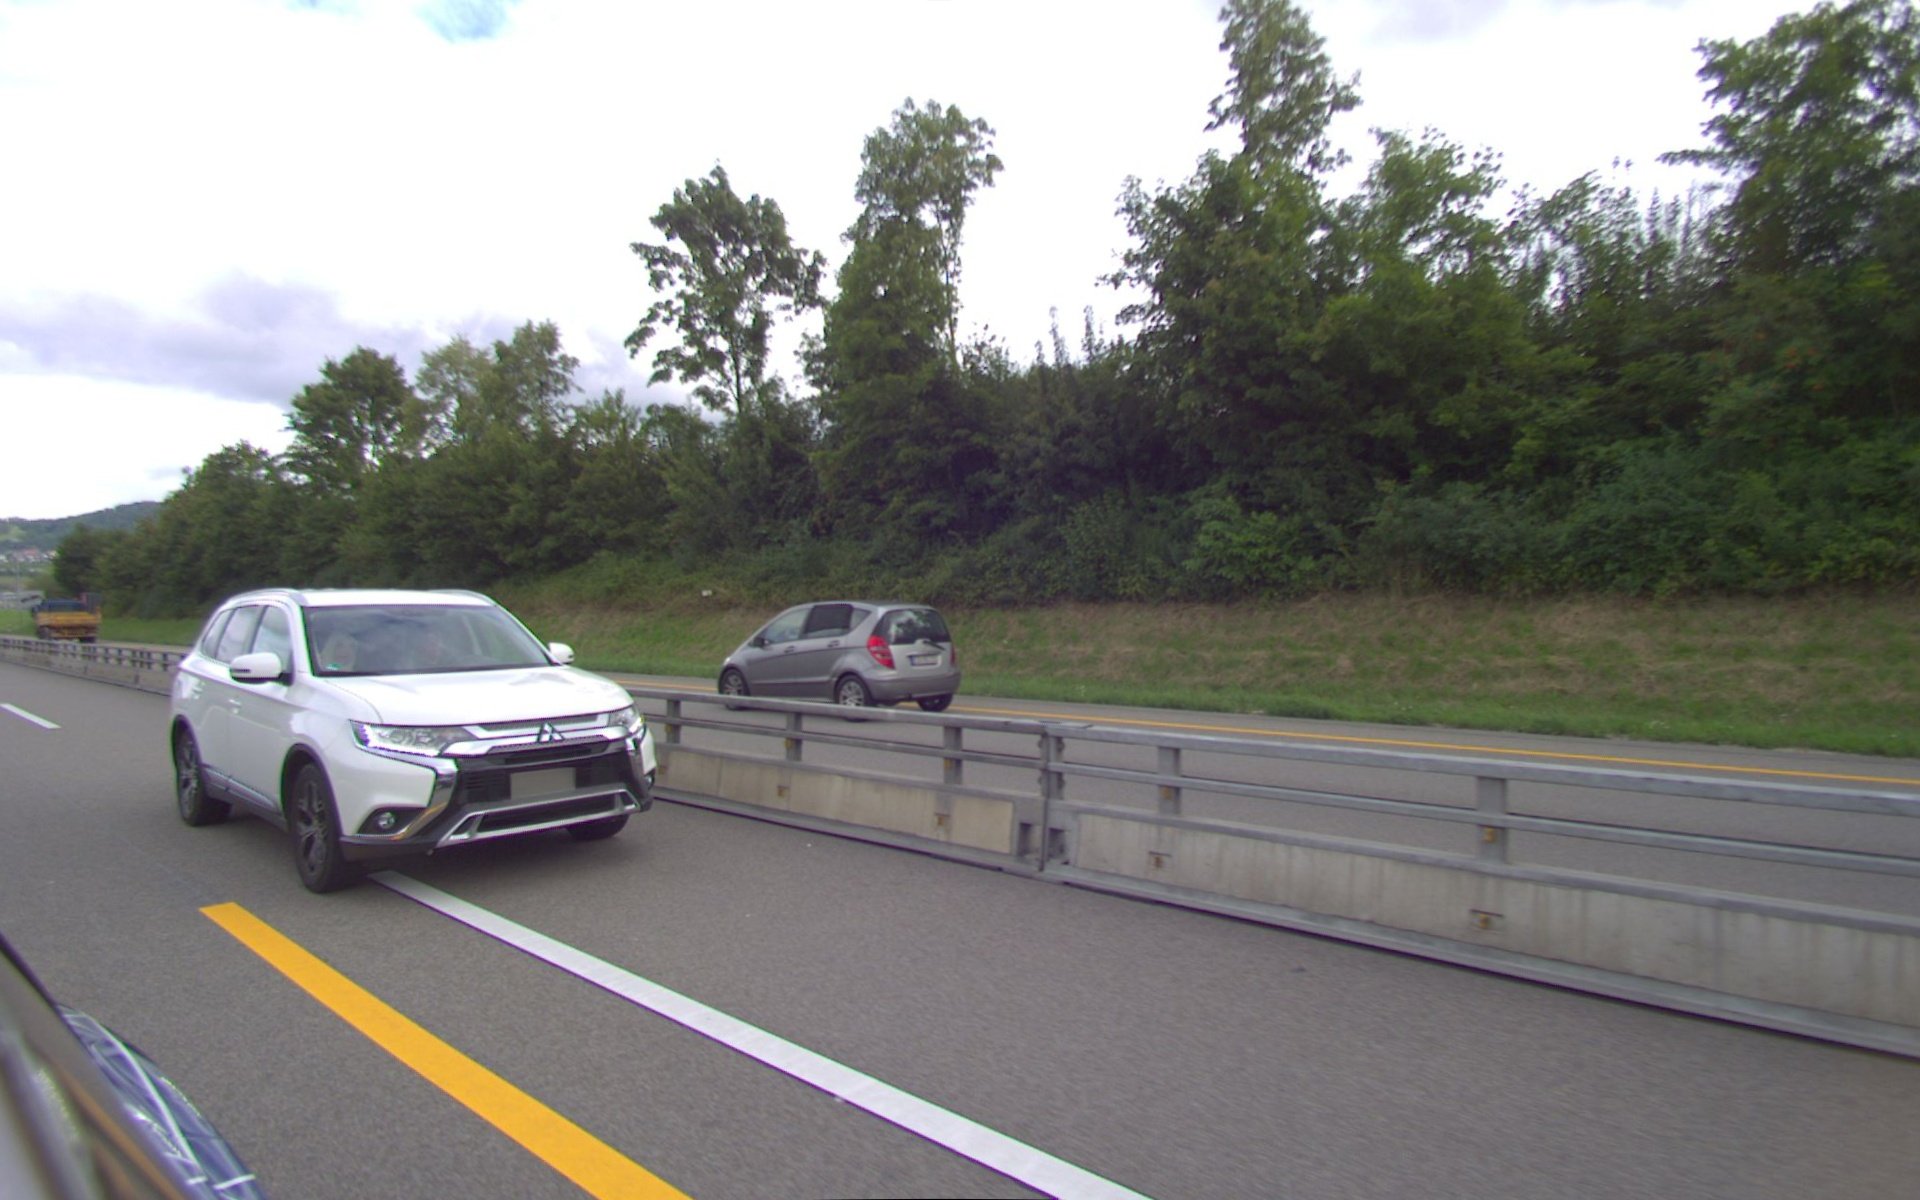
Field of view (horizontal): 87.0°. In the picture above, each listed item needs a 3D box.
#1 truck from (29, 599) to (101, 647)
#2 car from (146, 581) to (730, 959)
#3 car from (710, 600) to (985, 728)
[{"bbox_3d":[-53.894,1.395,60.886,6.664,2.738,2.463,-1,-1,42],"label":"truck"},{"bbox_3d":[-3.692,0.788,6.705,4.606,1.640,1.972,-2,-1,42],"label":"car"},{"bbox_3d":[-1.683,0.828,14.327,3.948,1.562,1.664,-1,-2,41],"label":"car"}]
